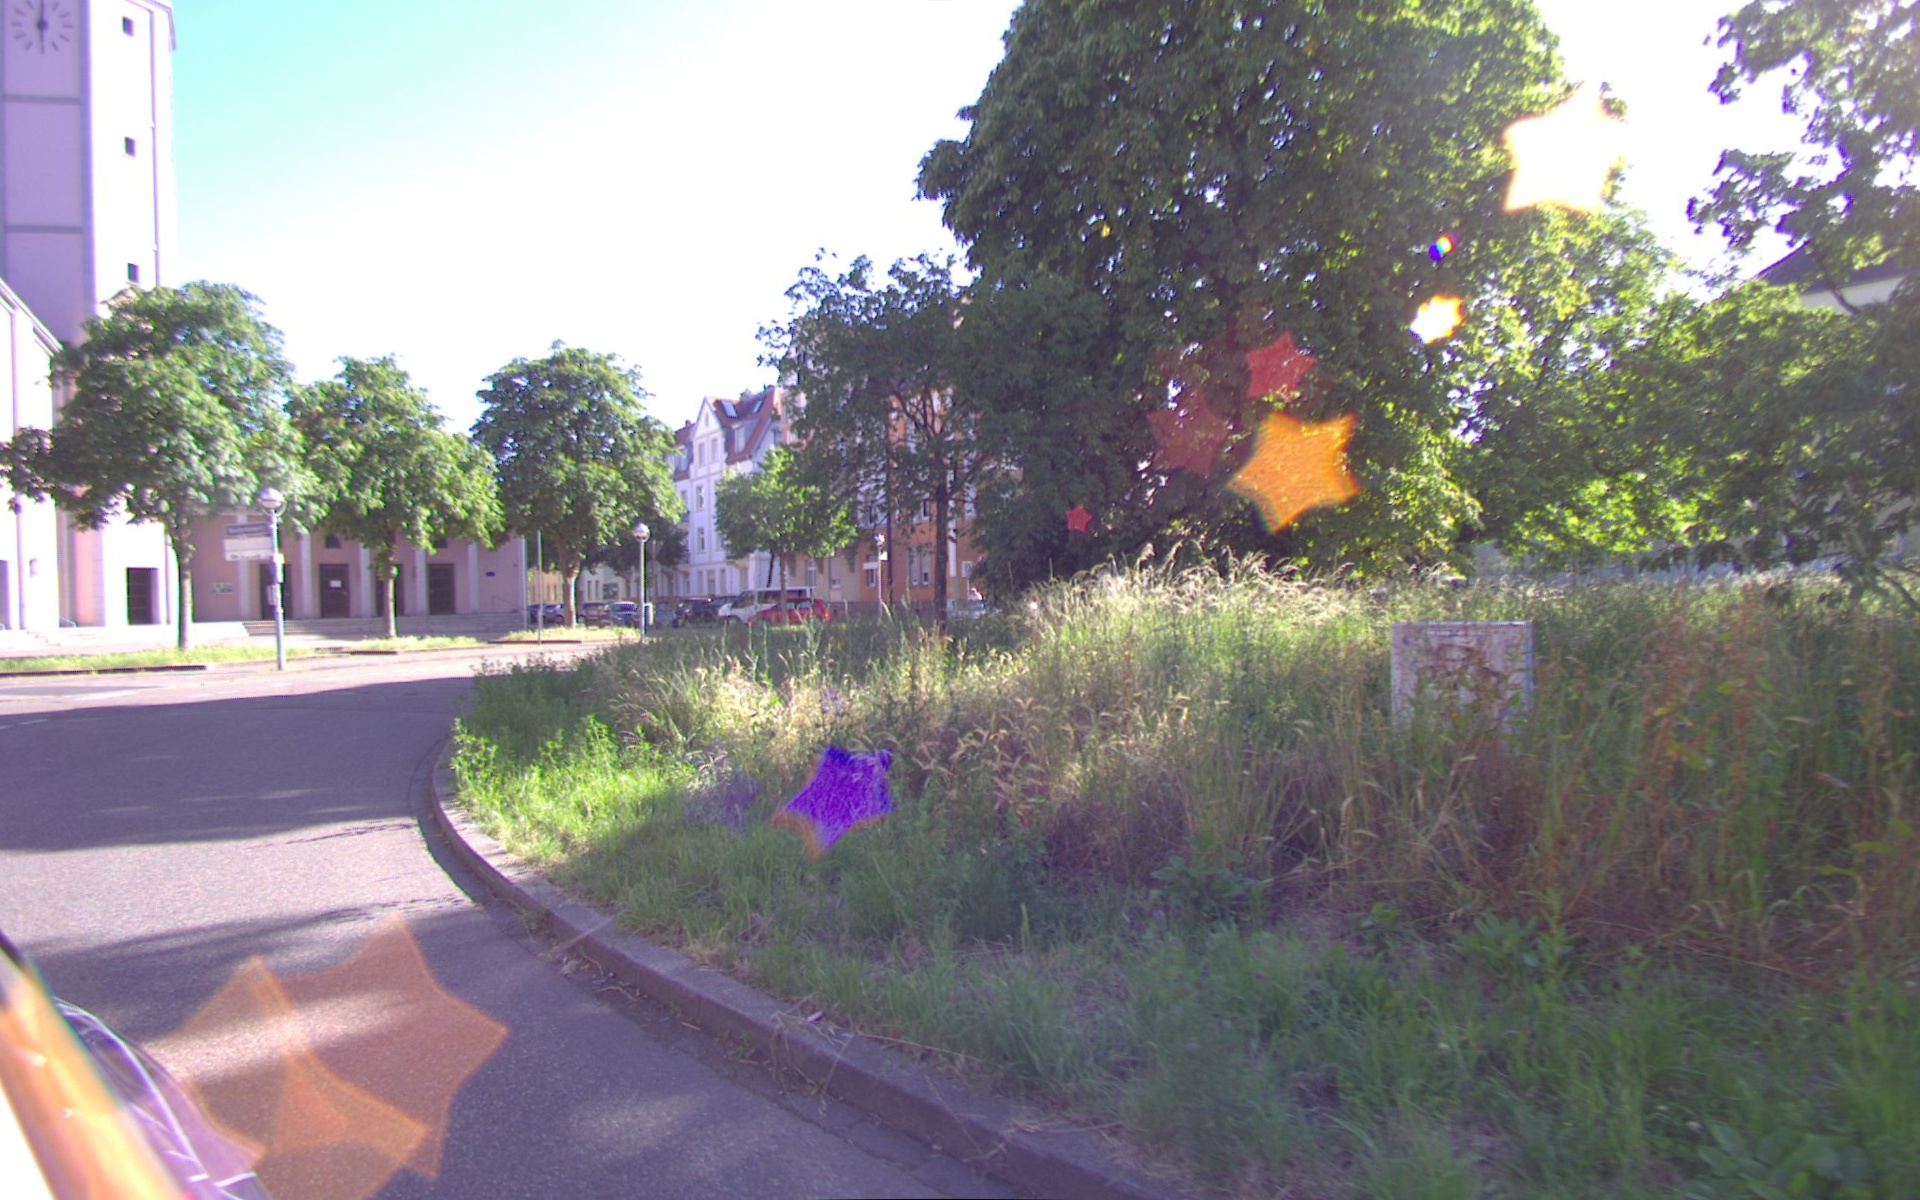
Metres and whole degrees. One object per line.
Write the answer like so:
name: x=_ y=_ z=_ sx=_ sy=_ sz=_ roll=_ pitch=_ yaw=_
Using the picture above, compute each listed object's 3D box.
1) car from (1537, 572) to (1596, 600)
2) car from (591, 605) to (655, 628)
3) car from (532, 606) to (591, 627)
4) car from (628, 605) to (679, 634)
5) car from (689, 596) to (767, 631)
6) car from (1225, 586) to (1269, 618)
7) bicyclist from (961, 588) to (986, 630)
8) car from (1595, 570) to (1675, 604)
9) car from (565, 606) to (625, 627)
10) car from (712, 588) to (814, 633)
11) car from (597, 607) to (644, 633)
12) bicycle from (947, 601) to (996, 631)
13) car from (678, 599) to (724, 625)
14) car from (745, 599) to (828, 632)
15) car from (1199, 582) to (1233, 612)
car: x=33.843 y=-0.775 z=56.581 sx=1.720 sy=1.450 sz=4.364 roll=-1 pitch=0 yaw=16
car: x=-23.545 y=1.120 z=70.783 sx=3.901 sy=1.507 sz=1.761 roll=-1 pitch=0 yaw=1
car: x=-30.924 y=1.248 z=78.586 sx=3.901 sy=1.507 sz=1.761 roll=-1 pitch=0 yaw=1
car: x=-16.306 y=1.019 z=53.701 sx=1.587 sy=1.433 sz=3.623 roll=-1 pitch=0 yaw=-34
car: x=-12.601 y=0.722 z=55.144 sx=3.896 sy=1.751 sz=1.763 roll=-1 pitch=0 yaw=-3
car: x=13.914 y=0.089 z=48.909 sx=1.784 sy=1.446 sz=4.183 roll=-3 pitch=-1 yaw=18
bicyclist: x=0.569 y=0.372 z=42.297 sx=0.798 sy=1.709 sz=0.767 roll=-2 pitch=0 yaw=-20
car: x=30.395 y=-0.544 z=45.699 sx=1.717 sy=1.422 sz=4.465 roll=-1 pitch=0 yaw=16
car: x=-27.270 y=1.232 z=75.678 sx=3.901 sy=1.507 sz=1.761 roll=-1 pitch=0 yaw=1
car: x=-9.626 y=0.499 z=49.782 sx=4.639 sy=2.061 sz=1.994 roll=-1 pitch=0 yaw=-1
car: x=-19.240 y=1.116 z=57.302 sx=1.587 sy=1.433 sz=3.623 roll=-1 pitch=0 yaw=-34
bicycle: x=0.484 y=0.665 z=42.284 sx=1.837 sy=1.207 sz=0.767 roll=-2 pitch=0 yaw=-20
car: x=-17.249 y=0.809 z=67.214 sx=1.732 sy=1.670 sz=3.966 roll=-1 pitch=0 yaw=-33
car: x=-8.049 y=0.702 z=47.217 sx=3.641 sy=1.446 sz=1.670 roll=-1 pitch=0 yaw=-3
car: x=16.644 y=-0.204 z=65.719 sx=1.784 sy=1.780 sz=4.183 roll=-4 pitch=-1 yaw=18
